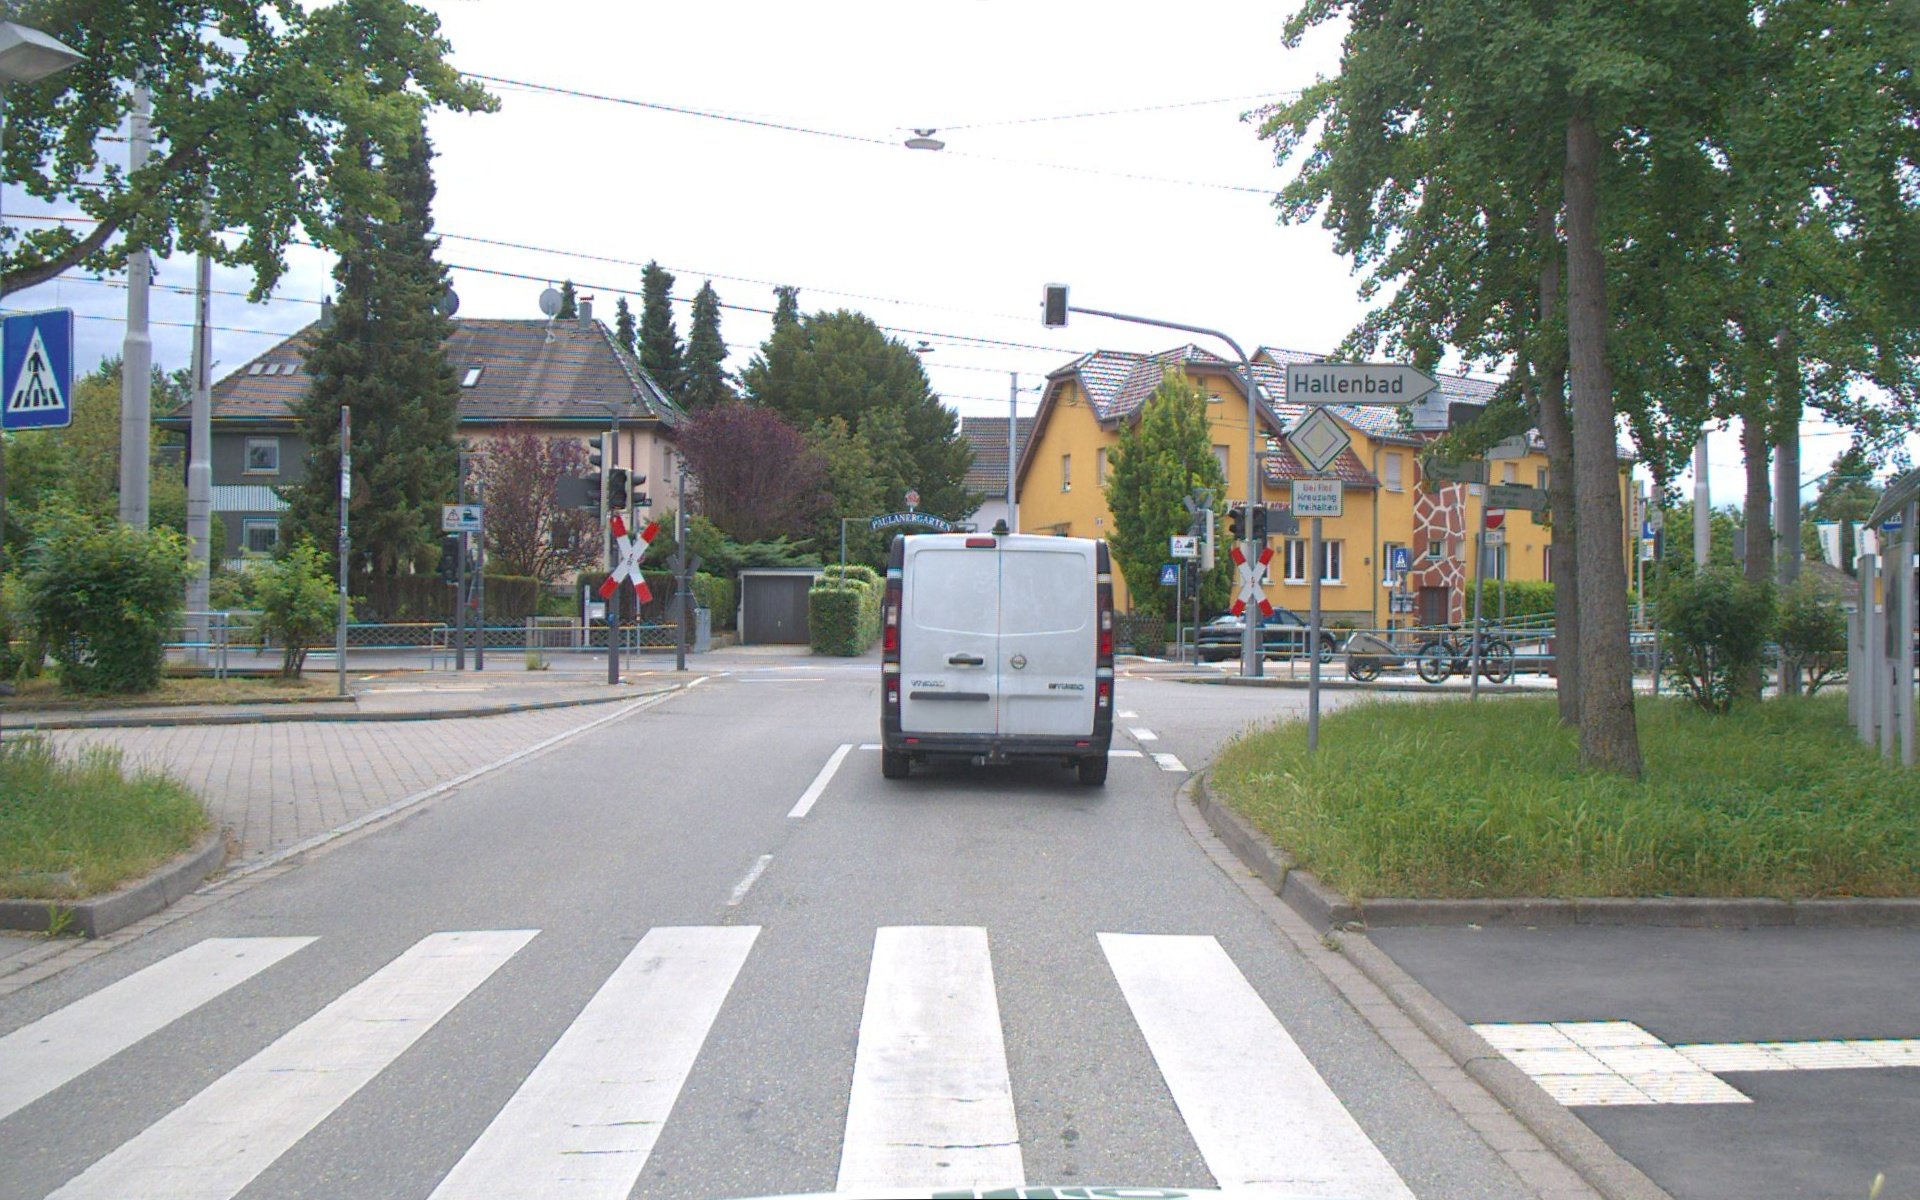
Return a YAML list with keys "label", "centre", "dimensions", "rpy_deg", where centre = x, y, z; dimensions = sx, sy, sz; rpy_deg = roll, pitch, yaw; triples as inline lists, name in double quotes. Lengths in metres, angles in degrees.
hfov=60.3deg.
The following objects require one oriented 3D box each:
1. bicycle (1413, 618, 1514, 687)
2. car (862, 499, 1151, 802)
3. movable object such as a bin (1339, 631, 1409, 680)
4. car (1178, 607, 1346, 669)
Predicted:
- label: "bicycle"
  centre: [8.798, 0.916, 28.894]
  dimensions: [1.655, 1.176, 0.466]
  rpy_deg: [0, -1, -8]
- label: "car"
  centre: [0.253, 0.374, 14.776]
  dimensions: [2.074, 2.171, 5.438]
  rpy_deg: [1, 0, -2]
- label: "movable object such as a bin"
  centre: [7.233, 0.964, 28.917]
  dimensions: [1.069, 0.839, 0.579]
  rpy_deg: [1, -1, -5]
- label: "car"
  centre: [8.601, 1.082, 46.988]
  dimensions: [4.321, 1.591, 2.335]
  rpy_deg: [2, 0, -35]
